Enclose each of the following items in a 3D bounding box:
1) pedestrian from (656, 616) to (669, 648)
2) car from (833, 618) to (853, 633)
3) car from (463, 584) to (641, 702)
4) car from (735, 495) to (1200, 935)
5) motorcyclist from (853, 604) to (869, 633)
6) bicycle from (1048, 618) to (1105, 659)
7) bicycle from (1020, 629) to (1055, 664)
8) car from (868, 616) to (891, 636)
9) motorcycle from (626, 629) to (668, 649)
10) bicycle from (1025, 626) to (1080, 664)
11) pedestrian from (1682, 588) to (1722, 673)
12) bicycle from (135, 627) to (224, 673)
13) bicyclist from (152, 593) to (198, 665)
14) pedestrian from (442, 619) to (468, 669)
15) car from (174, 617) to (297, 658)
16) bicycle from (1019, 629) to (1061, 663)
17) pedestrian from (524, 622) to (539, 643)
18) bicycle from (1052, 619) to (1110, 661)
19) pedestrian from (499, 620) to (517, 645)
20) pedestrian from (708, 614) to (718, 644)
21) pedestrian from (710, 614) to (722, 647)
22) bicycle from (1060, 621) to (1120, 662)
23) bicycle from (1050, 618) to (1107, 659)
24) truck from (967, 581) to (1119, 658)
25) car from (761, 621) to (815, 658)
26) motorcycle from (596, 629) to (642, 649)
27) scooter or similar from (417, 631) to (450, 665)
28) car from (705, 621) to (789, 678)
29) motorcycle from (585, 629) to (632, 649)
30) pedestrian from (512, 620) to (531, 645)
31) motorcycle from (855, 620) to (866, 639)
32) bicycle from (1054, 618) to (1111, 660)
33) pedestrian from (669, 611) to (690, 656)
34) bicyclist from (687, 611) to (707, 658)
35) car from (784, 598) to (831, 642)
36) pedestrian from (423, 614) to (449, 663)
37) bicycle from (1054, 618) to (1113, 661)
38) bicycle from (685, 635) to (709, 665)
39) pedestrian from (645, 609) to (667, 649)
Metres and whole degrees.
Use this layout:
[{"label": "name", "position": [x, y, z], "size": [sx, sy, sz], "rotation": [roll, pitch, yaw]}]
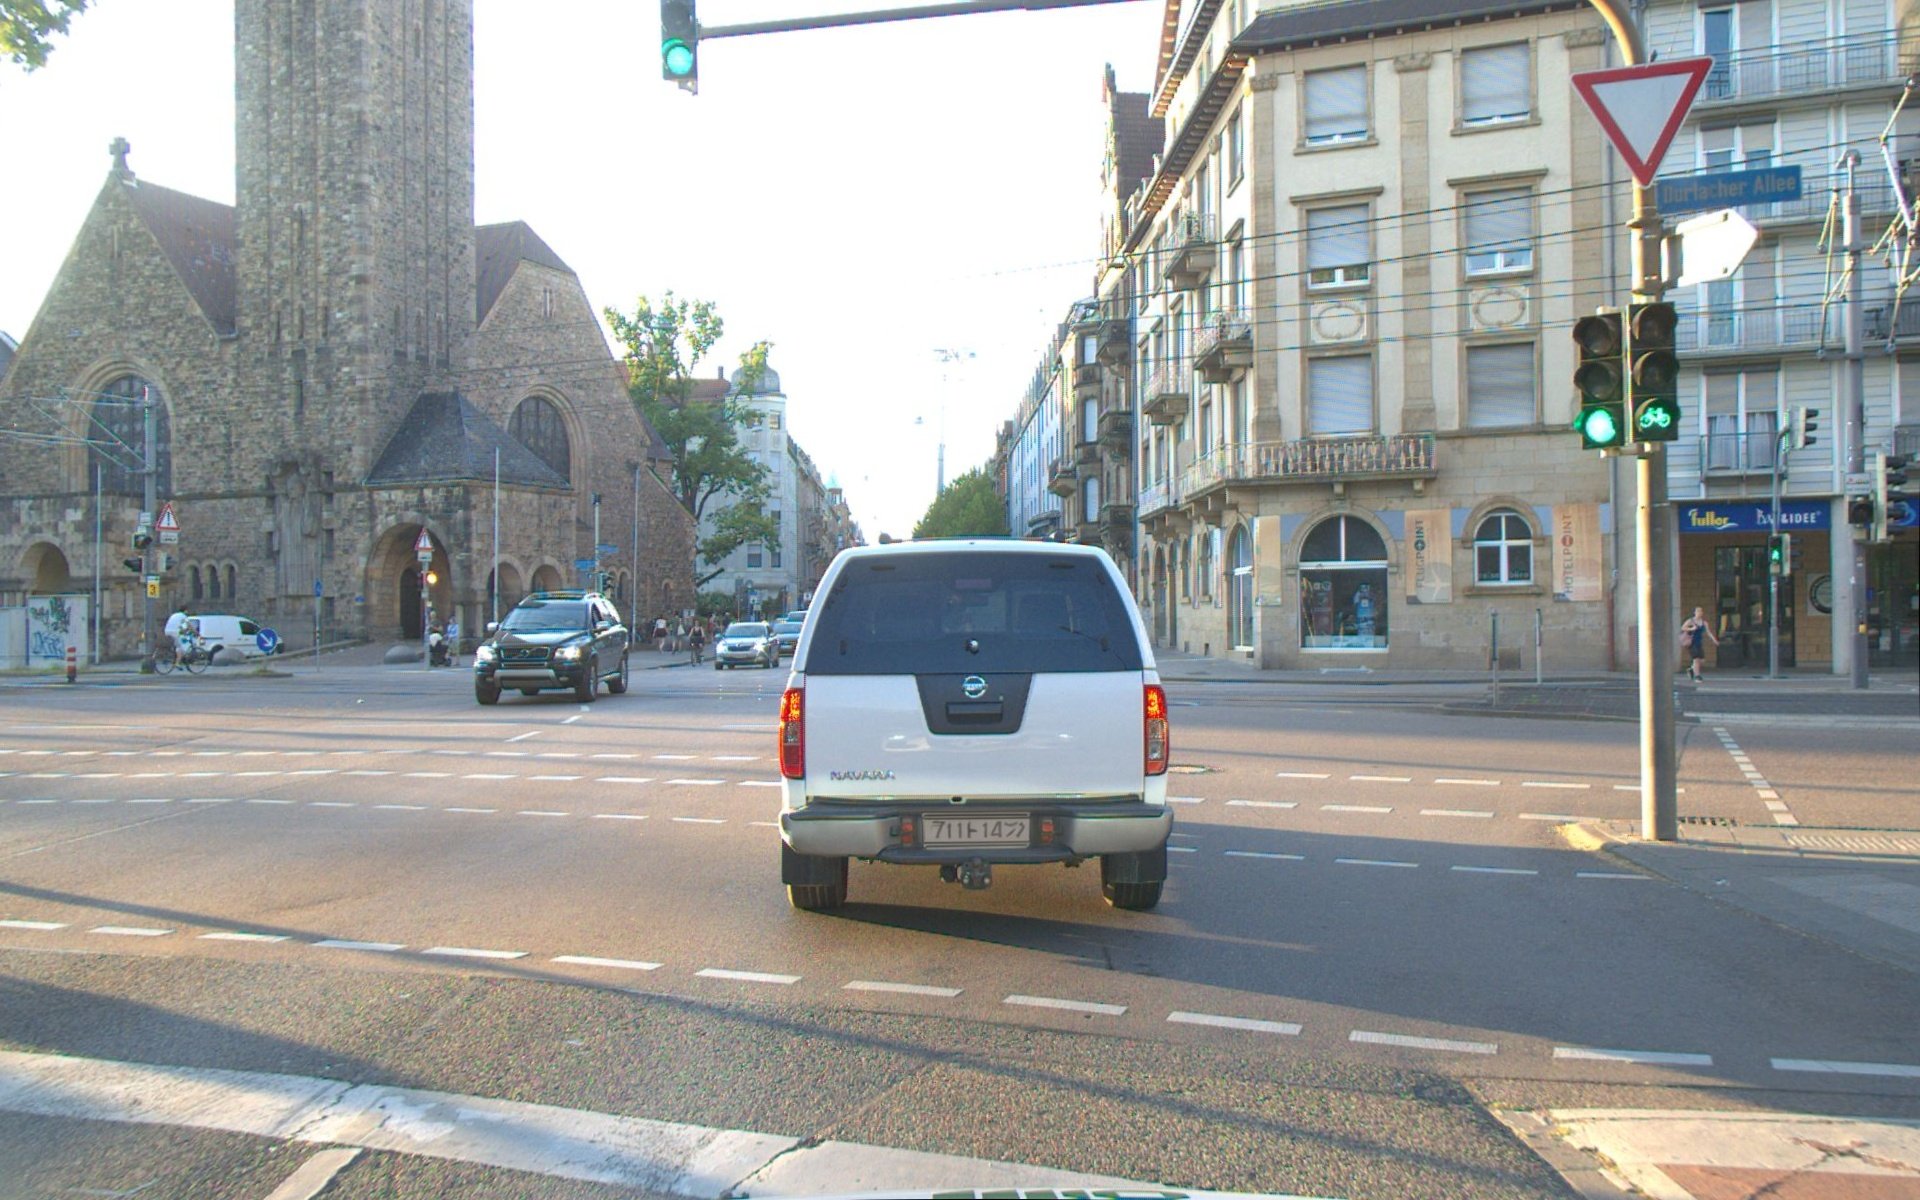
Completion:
[{"label": "pedestrian", "position": [-15.802, 1.707, 87.839], "size": [0.631, 1.725, 0.561], "rotation": [0, -1, -9]}, {"label": "car", "position": [-12.362, 2.694, 174.800], "size": [1.821, 1.556, 3.999], "rotation": [0, -1, -1]}, {"label": "car", "position": [-6.886, 0.675, 28.453], "size": [1.953, 1.816, 4.796], "rotation": [1, 0, -1]}, {"label": "car", "position": [0.028, 0.525, 8.988], "size": [1.953, 1.841, 3.999], "rotation": [0, -1, 0]}, {"label": "motorcyclist", "position": [-5.707, 1.086, 95.623], "size": [0.857, 1.673, 0.963], "rotation": [0, -1, -2]}, {"label": "bicycle", "position": [3.940, 1.315, 56.163], "size": [1.818, 1.259, 0.530], "rotation": [-4, -1, -3]}, {"label": "bicycle", "position": [2.542, 1.513, 53.985], "size": [1.055, 1.042, 0.317], "rotation": [-4, -1, -3]}, {"label": "car", "position": [-6.595, 2.140, 135.526], "size": [1.822, 1.556, 3.997], "rotation": [0, -1, -3]}, {"label": "motorcycle", "position": [-16.340, 2.025, 86.317], "size": [2.120, 1.005, 0.594], "rotation": [0, -1, 20]}, {"label": "bicycle", "position": [2.962, 1.451, 53.105], "size": [1.692, 1.102, 0.317], "rotation": [-4, -1, -3]}, {"label": "pedestrian", "position": [16.030, 0.662, 35.753], "size": [0.771, 1.810, 0.543], "rotation": [0, -2, 25]}, {"label": "bicycle", "position": [-20.528, 1.304, 43.559], "size": [0.643, 1.096, 2.244], "rotation": [0, 1, 24]}, {"label": "bicyclist", "position": [-20.606, 0.741, 43.413], "size": [0.643, 1.859, 0.859], "rotation": [0, 1, 24]}, {"label": "pedestrian", "position": [-17.588, 1.539, 57.610], "size": [0.620, 1.728, 0.603], "rotation": [0, -1, 10]}, {"label": "car", "position": [-28.341, 1.454, 64.814], "size": [1.679, 1.543, 4.453], "rotation": [0, -1, 24]}, {"label": "bicycle", "position": [2.676, 1.524, 55.244], "size": [1.306, 1.042, 0.317], "rotation": [-4, -1, -3]}, {"label": "pedestrian", "position": [-19.676, 1.491, 75.995], "size": [0.540, 0.977, 0.709], "rotation": [0, -1, -3]}, {"label": "bicycle", "position": [3.964, 1.310, 54.300], "size": [1.781, 1.259, 0.477], "rotation": [-4, -1, -3]}, {"label": "pedestrian", "position": [-17.847, 1.285, 65.282], "size": [0.511, 0.977, 0.479], "rotation": [0, -1, 19]}, {"label": "pedestrian", "position": [-14.461, 1.689, 96.991], "size": [0.549, 1.725, 0.643], "rotation": [0, -1, -8]}, {"label": "pedestrian", "position": [-14.210, 1.758, 96.152], "size": [0.632, 1.888, 0.559], "rotation": [1, -1, -15]}, {"label": "bicycle", "position": [4.133, 1.317, 52.650], "size": [1.781, 1.170, 0.636], "rotation": [-4, -1, -3]}, {"label": "bicycle", "position": [3.985, 1.302, 55.632], "size": [1.781, 1.259, 0.410], "rotation": [-4, -1, -3]}, {"label": "truck", "position": [3.030, 0.696, 59.216], "size": [5.629, 2.610, 2.251], "rotation": [1, -1, -44]}, {"label": "car", "position": [-7.371, 1.673, 71.111], "size": [1.953, 1.503, 4.138], "rotation": [-1, -1, -1]}, {"label": "motorcycle", "position": [-17.332, 1.975, 84.024], "size": [2.200, 1.005, 0.707], "rotation": [0, -1, -6]}, {"label": "scooter or similar", "position": [-17.998, 1.629, 56.550], "size": [0.620, 1.122, 1.079], "rotation": [-3, -2, 10]}, {"label": "car", "position": [-6.836, 1.562, 53.523], "size": [1.952, 1.585, 4.769], "rotation": [2, 0, 1]}, {"label": "motorcycle", "position": [-17.415, 1.934, 81.997], "size": [2.200, 1.005, 0.707], "rotation": [0, -1, -6]}, {"label": "pedestrian", "position": [-17.235, 1.281, 65.010], "size": [0.511, 0.977, 0.479], "rotation": [0, -1, 19]}, {"label": "motorcycle", "position": [-5.734, 1.710, 95.586], "size": [0.587, 1.062, 1.945], "rotation": [0, -1, -2]}, {"label": "bicycle", "position": [4.059, 1.290, 55.027], "size": [1.781, 1.259, 0.412], "rotation": [-4, -1, -3]}, {"label": "pedestrian", "position": [-12.031, 1.442, 70.862], "size": [0.796, 1.934, 0.666], "rotation": [0, -1, -3]}, {"label": "bicyclist", "position": [-9.420, 1.228, 59.248], "size": [0.587, 1.673, 0.963], "rotation": [0, -1, -2]}, {"label": "car", "position": [-7.512, 0.995, 81.746], "size": [1.953, 2.049, 4.948], "rotation": [-1, -1, -2]}, {"label": "pedestrian", "position": [-18.307, 1.346, 57.788], "size": [0.620, 1.728, 0.603], "rotation": [0, -1, 11]}, {"label": "bicycle", "position": [4.006, 1.291, 53.590], "size": [1.781, 1.259, 0.488], "rotation": [-4, -1, -3]}, {"label": "bicycle", "position": [-9.419, 1.774, 59.323], "size": [0.587, 1.062, 1.945], "rotation": [0, -1, -2]}, {"label": "pedestrian", "position": [-12.945, 1.251, 70.543], "size": [0.796, 1.699, 0.859], "rotation": [0, -1, -2]}]
